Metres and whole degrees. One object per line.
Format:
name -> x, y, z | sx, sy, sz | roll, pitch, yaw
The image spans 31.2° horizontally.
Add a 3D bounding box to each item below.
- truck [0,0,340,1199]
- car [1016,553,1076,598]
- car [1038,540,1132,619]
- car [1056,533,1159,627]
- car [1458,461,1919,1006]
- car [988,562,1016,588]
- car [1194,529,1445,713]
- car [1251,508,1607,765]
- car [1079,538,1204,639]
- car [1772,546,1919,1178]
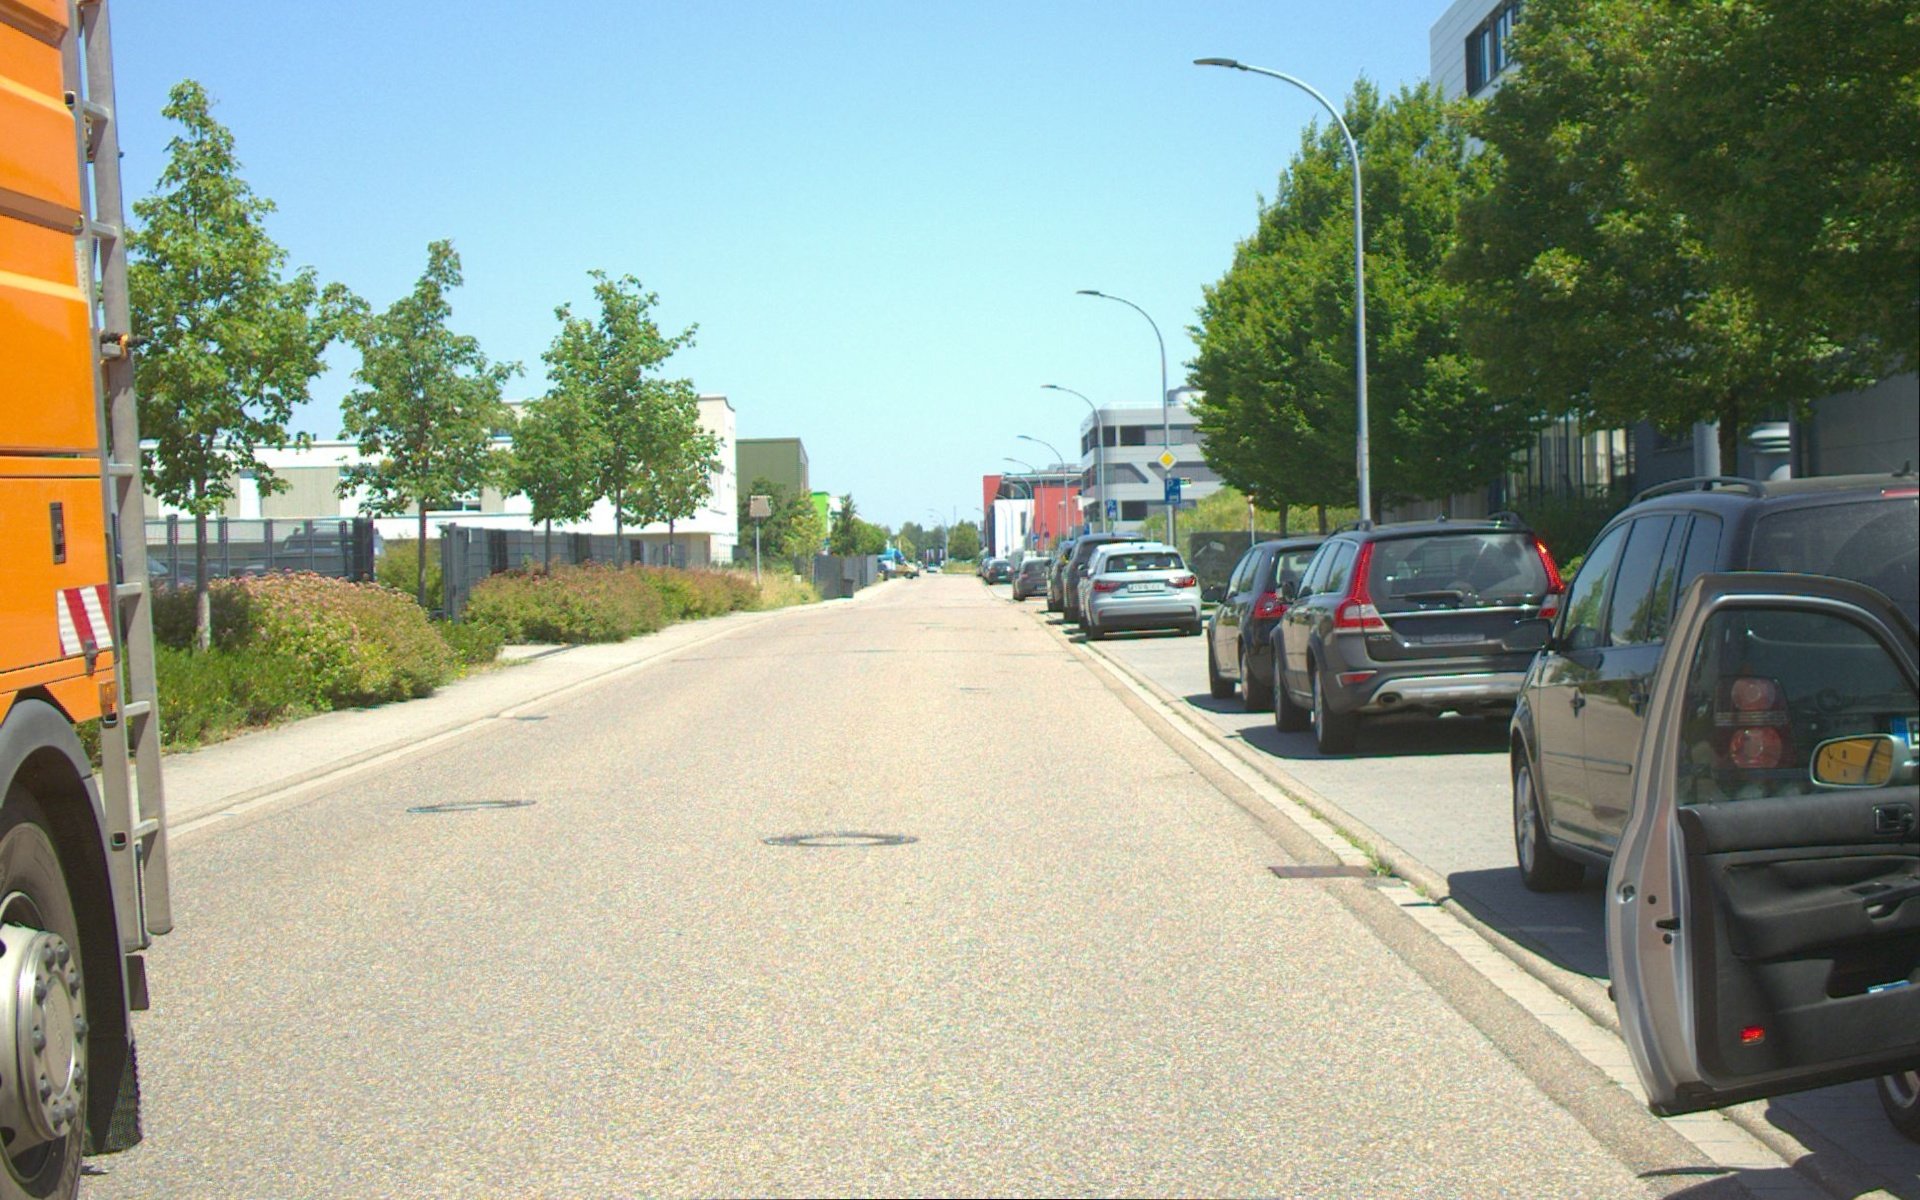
truck -> -3.121, -0.282, 5.022 | 2.599, 3.533, 10.502 | -2, 1, -1
car -> 2.969, -0.852, 118.251 | 1.908, 1.443, 4.000 | -3, 0, 3
car -> 2.838, -0.497, 78.798 | 1.803, 1.656, 4.608 | -3, 1, -1
car -> 2.789, -0.400, 65.854 | 1.757, 1.657, 4.363 | -3, 1, 1
car -> 3.111, 0.362, 12.867 | 1.737, 1.664, 4.368 | -2, 1, -1
car -> 2.796, -1.663, 229.207 | 1.776, 1.722, 4.000 | 1, 1, 0
car -> 3.164, 0.148, 30.995 | 1.691, 1.471, 4.269 | -3, 1, -1
car -> 3.288, 0.207, 24.979 | 1.807, 1.612, 4.715 | -3, 1, -1
car -> 2.810, -0.205, 53.912 | 1.716, 1.418, 3.951 | -3, 1, 1
car -> 3.064, 0.595, 7.034 | 1.707, 1.452, 4.189 | -2, 1, -1
